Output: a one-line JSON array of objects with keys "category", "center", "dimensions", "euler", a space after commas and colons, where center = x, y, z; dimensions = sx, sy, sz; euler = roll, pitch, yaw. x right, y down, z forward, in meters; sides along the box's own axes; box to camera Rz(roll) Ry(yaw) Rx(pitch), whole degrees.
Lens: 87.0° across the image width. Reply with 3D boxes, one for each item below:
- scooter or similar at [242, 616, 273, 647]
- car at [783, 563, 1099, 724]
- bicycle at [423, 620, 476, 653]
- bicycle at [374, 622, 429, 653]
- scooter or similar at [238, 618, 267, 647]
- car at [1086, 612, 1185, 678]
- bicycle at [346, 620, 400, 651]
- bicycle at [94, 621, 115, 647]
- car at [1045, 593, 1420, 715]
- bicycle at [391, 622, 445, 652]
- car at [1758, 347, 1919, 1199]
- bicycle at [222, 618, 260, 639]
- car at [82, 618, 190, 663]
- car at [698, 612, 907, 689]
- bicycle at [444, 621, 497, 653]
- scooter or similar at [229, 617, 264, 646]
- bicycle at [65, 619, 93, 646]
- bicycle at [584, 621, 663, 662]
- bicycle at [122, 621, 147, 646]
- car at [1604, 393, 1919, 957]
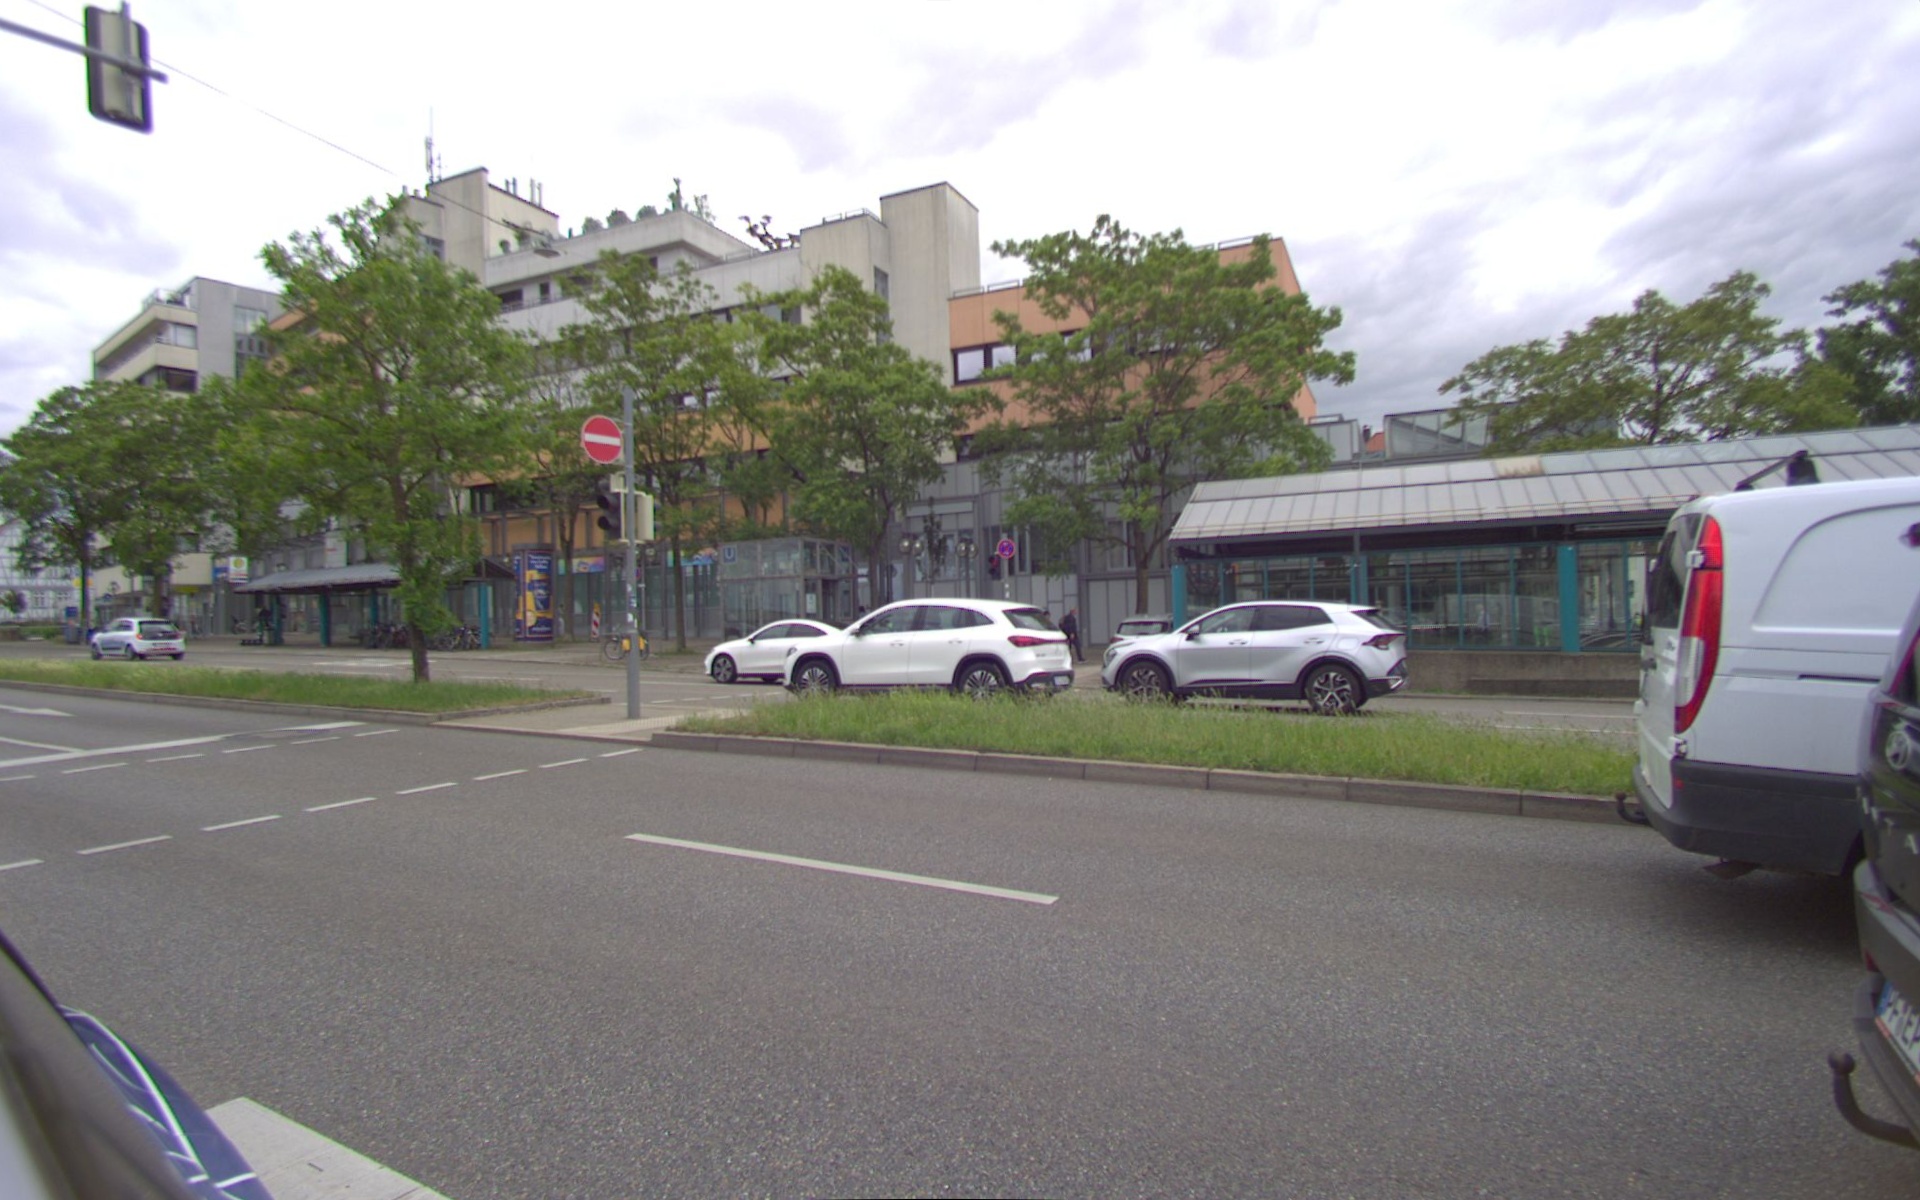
[{"category": "scooter or similar", "center": [-31.979, 1.411, 46.075], "dimensions": [0.221, 1.395, 1.196], "euler": [-1, -1, 23]}, {"category": "car", "center": [-0.293, 0.580, 14.623], "dimensions": [4.159, 2.029, 1.981], "euler": [-1, -1, 28]}, {"category": "bicycle", "center": [-20.513, 1.450, 40.716], "dimensions": [0.705, 1.162, 2.062], "euler": [-1, 3, 15]}, {"category": "bicycle", "center": [-22.793, 1.519, 41.343], "dimensions": [0.705, 1.162, 2.062], "euler": [-1, 0, 15]}, {"category": "scooter or similar", "center": [-32.244, 1.474, 46.147], "dimensions": [0.266, 1.305, 1.122], "euler": [-1, -1, 22]}, {"category": "car", "center": [4.482, 1.052, 25.399], "dimensions": [1.983, 1.364, 3.979], "euler": [3, 1, 16]}, {"category": "bicycle", "center": [-24.616, 1.478, 42.488], "dimensions": [0.705, 1.162, 2.062], "euler": [-1, 2, 15]}, {"category": "bicycle", "center": [-43.184, 1.715, 51.104], "dimensions": [0.425, 1.263, 1.475], "euler": [0, -1, -24]}, {"category": "car", "center": [4.024, 0.758, 15.216], "dimensions": [5.240, 1.597, 1.756], "euler": [-1, -2, 26]}, {"category": "bicycle", "center": [-21.975, 1.491, 41.071], "dimensions": [0.705, 1.162, 2.061], "euler": [-1, -1, 15]}, {"category": "car", "center": [3.876, 0.418, 0.936], "dimensions": [4.661, 1.764, 1.908], "euler": [-1, 0, 31]}, {"category": "bicycle", "center": [-46.626, 1.809, 65.612], "dimensions": [1.944, 1.329, 0.706], "euler": [0, -1, -43]}, {"category": "car", "center": [-30.173, 1.443, 37.033], "dimensions": [3.982, 1.529, 1.736], "euler": [-1, -1, 29]}, {"category": "car", "center": [-3.551, 1.075, 22.644], "dimensions": [4.484, 1.586, 1.722], "euler": [-1, -1, 27]}, {"category": "bicycle", "center": [-19.494, 1.463, 40.357], "dimensions": [0.705, 1.162, 2.062], "euler": [-1, 0, 15]}, {"category": "scooter or similar", "center": [-32.592, 1.437, 46.245], "dimensions": [0.337, 1.279, 1.315], "euler": [-1, 1, 23]}, {"category": "bicycle", "center": [-42.848, 1.581, 49.260], "dimensions": [0.616, 1.263, 1.689], "euler": [0, -1, -26]}, {"category": "bicycle", "center": [-11.067, 1.344, 33.262], "dimensions": [2.413, 1.280, 1.046], "euler": [-1, 1, 27]}, {"category": "bicycle", "center": [-41.303, 1.663, 50.643], "dimensions": [0.616, 1.263, 1.689], "euler": [0, -1, -26]}, {"category": "car", "center": [5.412, 0.214, 3.613], "dimensions": [5.053, 2.029, 1.861], "euler": [-2, -1, 29]}]
